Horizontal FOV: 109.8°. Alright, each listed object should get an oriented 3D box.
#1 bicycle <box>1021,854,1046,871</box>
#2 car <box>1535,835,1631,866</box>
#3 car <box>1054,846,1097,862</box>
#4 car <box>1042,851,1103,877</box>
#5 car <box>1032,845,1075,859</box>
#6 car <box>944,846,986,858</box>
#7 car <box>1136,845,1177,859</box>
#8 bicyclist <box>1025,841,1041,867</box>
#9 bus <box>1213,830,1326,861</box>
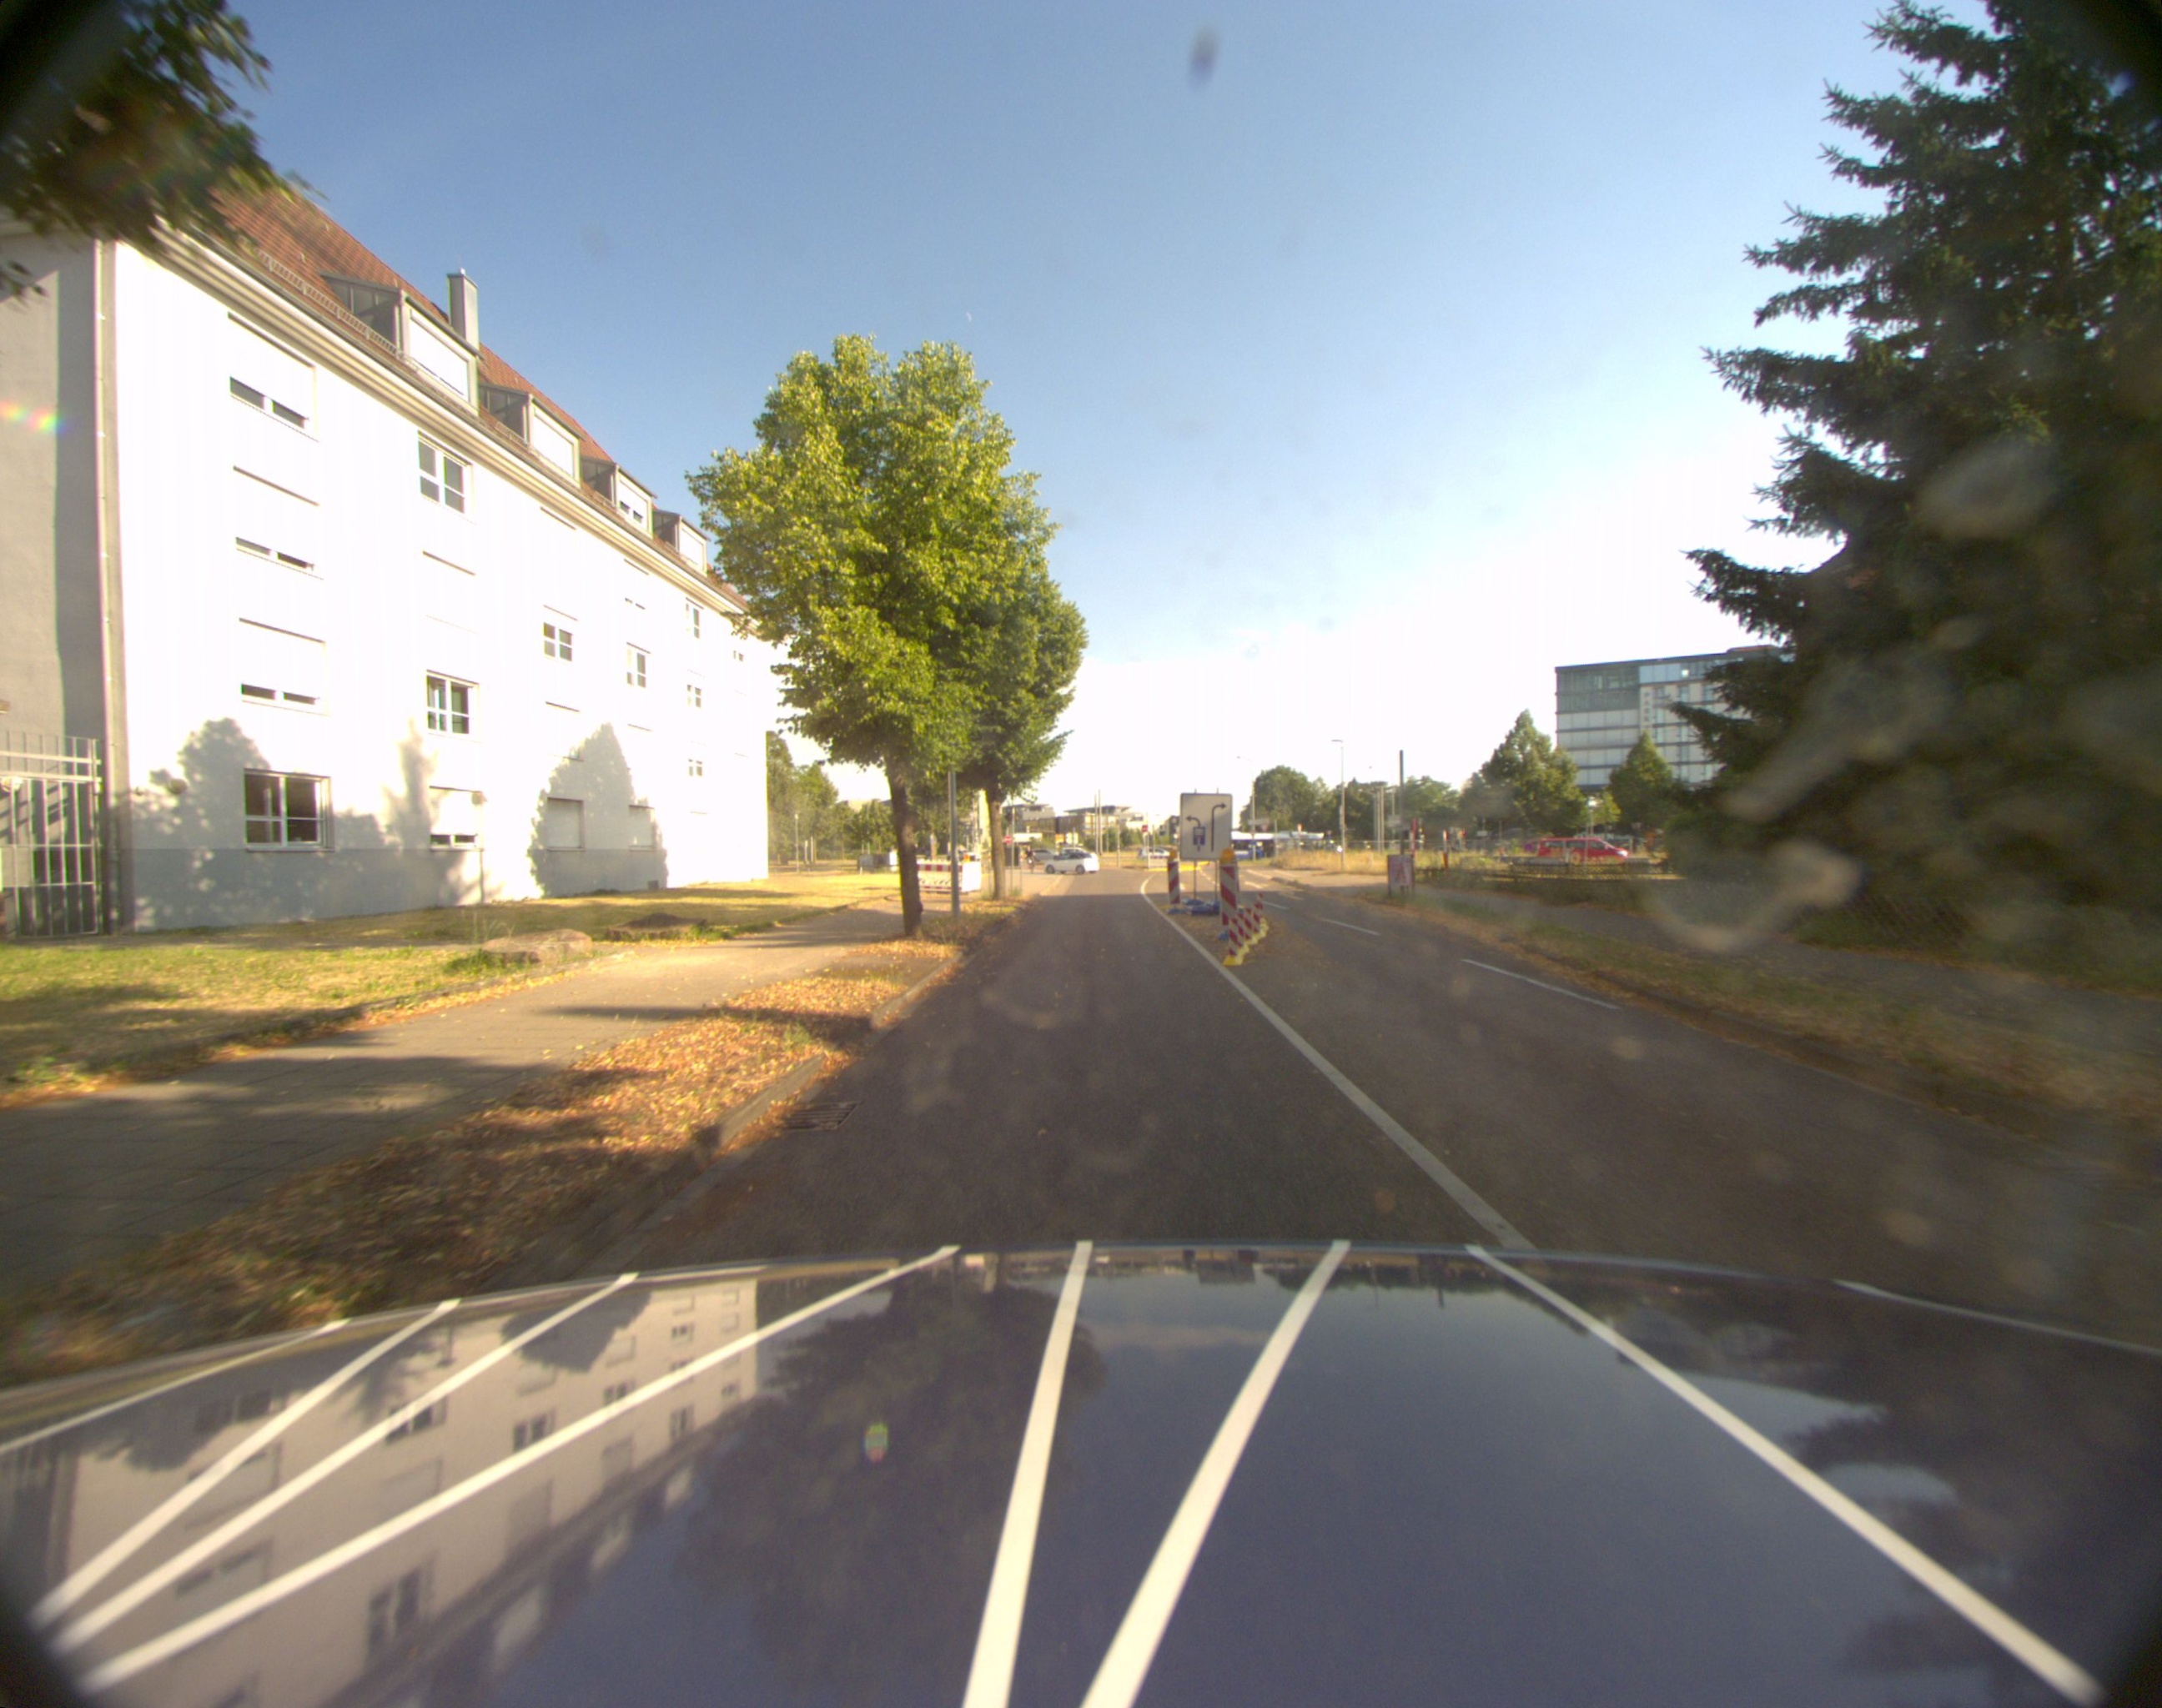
[{"bbox_3d":[-3.279,0.550,52.878,0.639,1.116,2.129,0,1,30],"label":"bicycle"},{"bbox_3d":[34.393,-0.254,52.122,5.297,2.002,2.004,0,1,40],"label":"car"},{"bbox_3d":[-0.573,-0.001,78.137,4.040,1.542,1.915,0,1,17],"label":"car"},{"bbox_3d":[-0.578,0.676,50.632,3.616,1.413,1.768,-4,-1,32],"label":"car"},{"bbox_3d":[-3.007,-0.203,82.863,4.259,1.521,2.002,0,1,16],"label":"car"},{"bbox_3d":[-13.387,-0.232,87.963,4.576,1.376,2.099,0,1,34],"label":"car"},{"bbox_3d":[7.753,-0.218,78.714,3.998,1.477,1.842,-1,1,-2],"label":"car"},{"bbox_3d":[-3.325,0.012,52.839,0.726,1.790,0.940,0,2,30],"label":"bicyclist"},{"bbox_3d":[20.186,-0.919,81.311,12.188,3.044,2.662,-1,1,-18],"label":"bus"}]
